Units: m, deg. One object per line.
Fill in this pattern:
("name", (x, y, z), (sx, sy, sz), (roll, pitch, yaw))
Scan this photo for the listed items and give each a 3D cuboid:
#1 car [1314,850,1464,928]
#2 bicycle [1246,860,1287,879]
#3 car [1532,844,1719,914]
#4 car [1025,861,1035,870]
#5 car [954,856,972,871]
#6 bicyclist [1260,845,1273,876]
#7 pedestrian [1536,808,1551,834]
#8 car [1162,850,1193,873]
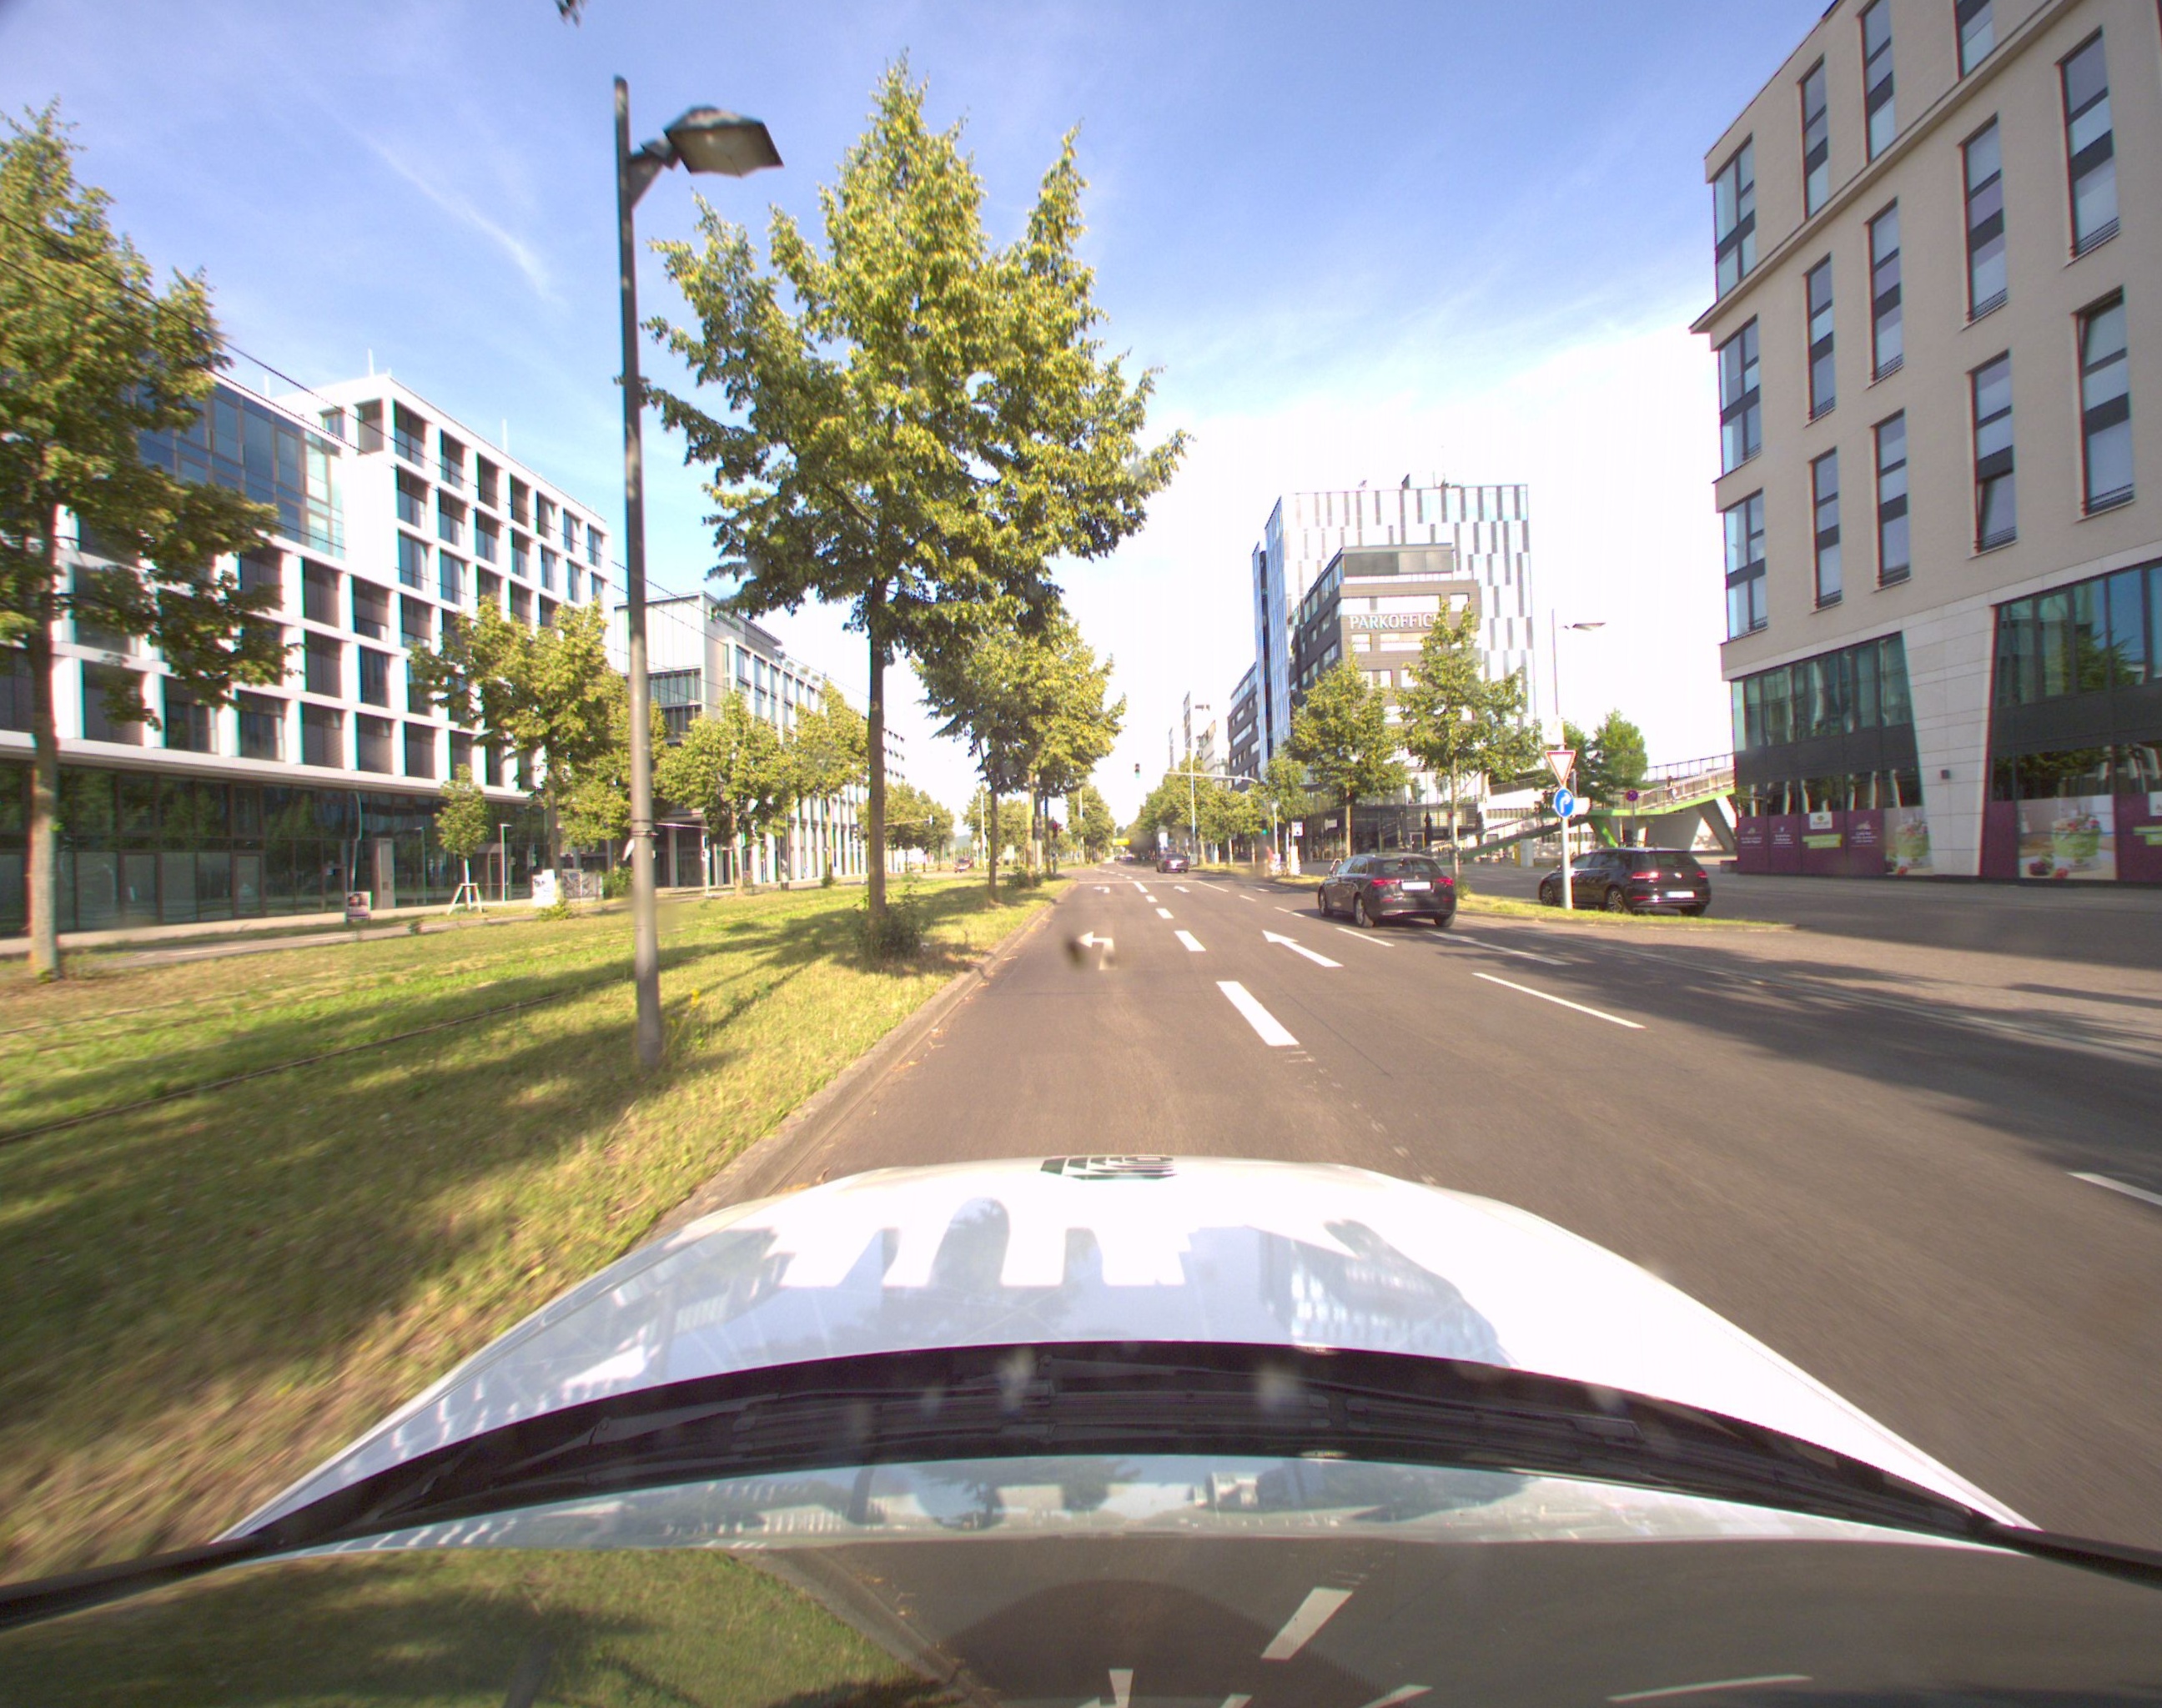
("car", (6.242, 0.666, 16.995), (1.767, 1.424, 3.963), (0, -1, 2))
("bicycle", (10.203, 0.839, 44.722), (2.128, 1.013, 0.571), (0, -1, -2))
("car", (11.963, 0.516, 18.265), (1.600, 1.370, 4.160), (0, -1, 3))
("car", (-11.157, 2.545, 178.335), (1.772, 2.014, 4.001), (0, -1, 2))
("car", (-13.470, 1.080, 93.158), (1.679, 1.775, 3.880), (0, -1, -2))
("bicyclist", (10.205, 0.358, 44.732), (0.573, 1.707, 0.540), (0, -1, -2))
("pedestrian", (30.637, -2.191, 53.921), (0.688, 1.692, 0.790), (0, -1, 15))
("car", (6.833, 0.539, 57.999), (1.852, 1.524, 3.787), (0, -1, 2))
